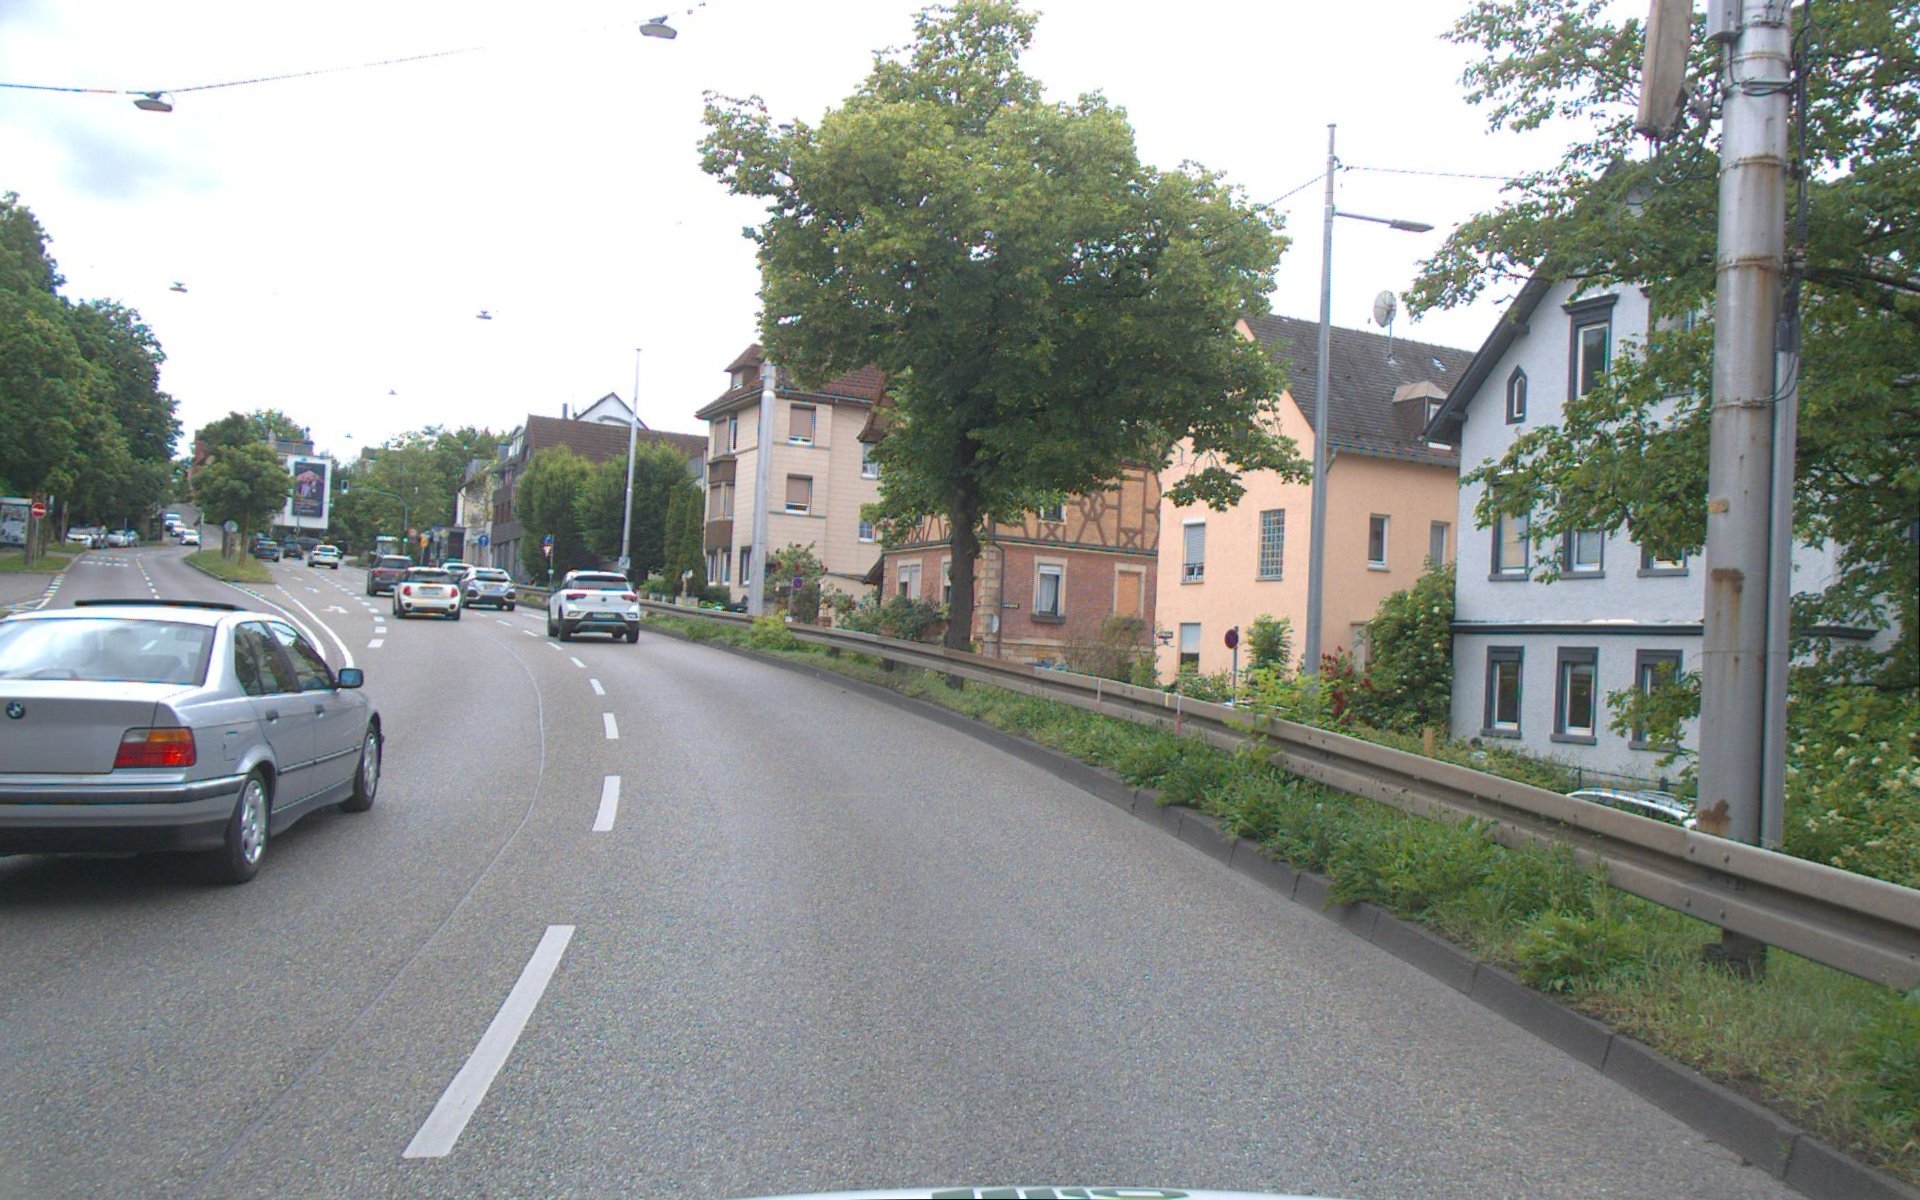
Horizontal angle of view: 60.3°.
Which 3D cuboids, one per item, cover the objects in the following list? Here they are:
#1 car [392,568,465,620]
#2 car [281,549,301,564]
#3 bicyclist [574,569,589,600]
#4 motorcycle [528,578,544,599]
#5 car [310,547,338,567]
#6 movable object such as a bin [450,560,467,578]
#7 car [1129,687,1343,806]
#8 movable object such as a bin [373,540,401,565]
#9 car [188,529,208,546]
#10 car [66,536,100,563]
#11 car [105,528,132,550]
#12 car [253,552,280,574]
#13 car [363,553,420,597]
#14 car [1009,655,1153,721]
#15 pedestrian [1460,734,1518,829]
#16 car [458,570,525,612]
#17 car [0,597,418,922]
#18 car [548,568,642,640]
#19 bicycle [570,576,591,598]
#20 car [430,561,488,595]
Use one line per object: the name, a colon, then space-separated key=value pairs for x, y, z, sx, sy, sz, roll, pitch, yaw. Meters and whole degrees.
car: x=-15.219 y=-0.184 z=47.308 sx=1.699 sy=1.400 sz=3.433 roll=1 pitch=1 yaw=-23
car: x=-66.015 y=-4.283 z=163.198 sx=1.700 sy=1.400 sz=3.430 roll=1 pitch=1 yaw=-25
bicyclist: x=-19.219 y=-0.783 z=83.949 sx=0.559 sy=1.551 sz=0.951 roll=1 pitch=2 yaw=-26
motorcycle: x=-26.052 y=-0.699 z=101.625 sx=0.600 sy=1.182 sz=2.026 roll=2 pitch=1 yaw=-23
car: x=-47.097 y=-3.152 z=122.436 sx=1.700 sy=1.400 sz=3.430 roll=1 pitch=1 yaw=-25
movable object such as a bin: x=-43.050 y=-2.681 z=141.962 sx=1.180 sy=1.432 sz=0.705 roll=5 pitch=0 yaw=-25
car: x=5.171 y=2.744 z=31.507 sx=1.762 sy=1.699 sz=4.165 roll=5 pitch=0 yaw=-28
movable object such as a bin: x=-49.252 y=-4.112 z=142.131 sx=1.874 sy=1.902 sz=1.512 roll=5 pitch=0 yaw=-33
car: x=-85.089 y=-6.996 z=184.671 sx=1.837 sy=1.698 sz=4.246 roll=5 pitch=0 yaw=-25
car: x=-63.655 y=-3.679 z=120.104 sx=1.837 sy=1.698 sz=4.245 roll=5 pitch=0 yaw=-26
car: x=-71.641 y=-5.203 z=140.793 sx=1.837 sy=1.621 sz=4.245 roll=5 pitch=0 yaw=-26
car: x=-55.005 y=-2.932 z=131.176 sx=1.702 sy=1.610 sz=3.427 roll=1 pitch=1 yaw=-27
car: x=-22.835 y=-1.003 z=66.351 sx=1.702 sy=1.668 sz=3.427 roll=1 pitch=1 yaw=-27
car: x=3.769 y=2.734 z=51.492 sx=3.939 sy=1.601 sz=1.984 roll=6 pitch=-1 yaw=-27
pedestrian: x=8.926 y=3.062 z=27.917 sx=0.610 sy=1.506 sz=0.585 roll=5 pitch=0 yaw=-25
car: x=-16.421 y=-0.323 z=57.891 sx=1.701 sy=1.400 sz=3.429 roll=1 pitch=1 yaw=-25
car: x=-4.414 y=0.692 z=9.525 sx=1.603 sy=1.407 sz=4.612 roll=0 pitch=0 yaw=-7
car: x=-8.432 y=0.063 z=38.028 sx=1.769 sy=1.545 sz=3.438 roll=1 pitch=1 yaw=-18
bicycle: x=-19.306 y=-0.665 z=84.107 sx=0.559 sy=1.081 sz=1.989 roll=1 pitch=2 yaw=-26
car: x=-21.511 y=-0.940 z=70.933 sx=1.704 sy=1.400 sz=3.423 roll=1 pitch=1 yaw=-29
